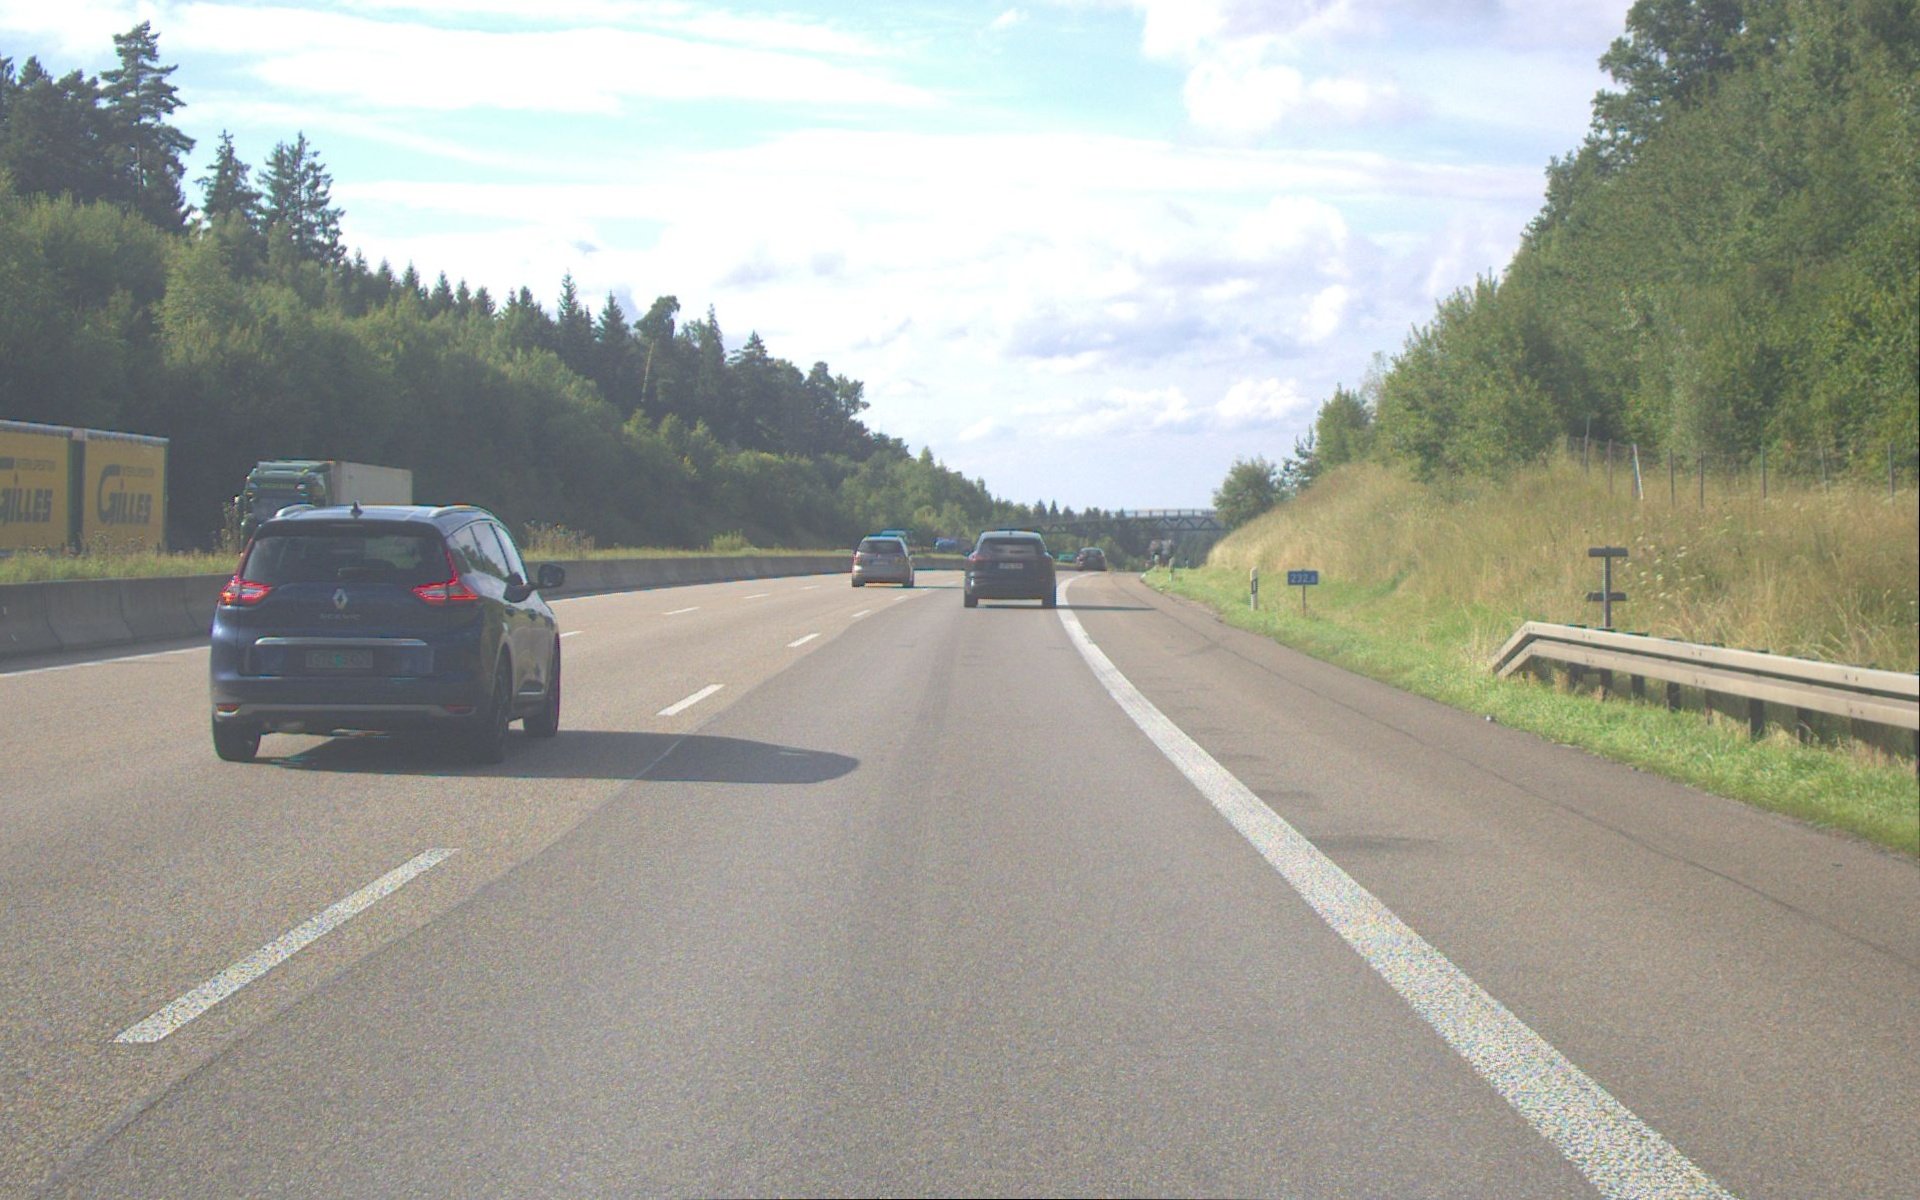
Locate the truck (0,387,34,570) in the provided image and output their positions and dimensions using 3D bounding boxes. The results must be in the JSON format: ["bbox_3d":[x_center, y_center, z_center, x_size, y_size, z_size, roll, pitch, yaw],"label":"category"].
[{"bbox_3d":[-22.641,-2.687,75.556,2.649,4.072,6.416,1,1,2],"label":"truck"}]

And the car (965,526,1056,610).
[{"bbox_3d":[1.058,-0.709,73.300,1.873,1.669,3.890,1,2,0],"label":"car"}]

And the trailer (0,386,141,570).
[{"bbox_3d":[-22.453,-2.834,81.206,2.649,4.072,13.201,1,1,2],"label":"trailer"}]

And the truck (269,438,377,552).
[{"bbox_3d":[-21.701,-3.564,117.324,2.693,3.736,5.170,1,1,-1],"label":"truck"}]

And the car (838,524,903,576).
[{"bbox_3d":[-2.759,-1.544,104.951,1.873,1.492,3.881,1,2,-3],"label":"car"}]

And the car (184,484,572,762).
[{"bbox_3d":[-3.861,0.088,23.561,1.993,1.701,4.530,1,1,-1],"label":"car"}]
